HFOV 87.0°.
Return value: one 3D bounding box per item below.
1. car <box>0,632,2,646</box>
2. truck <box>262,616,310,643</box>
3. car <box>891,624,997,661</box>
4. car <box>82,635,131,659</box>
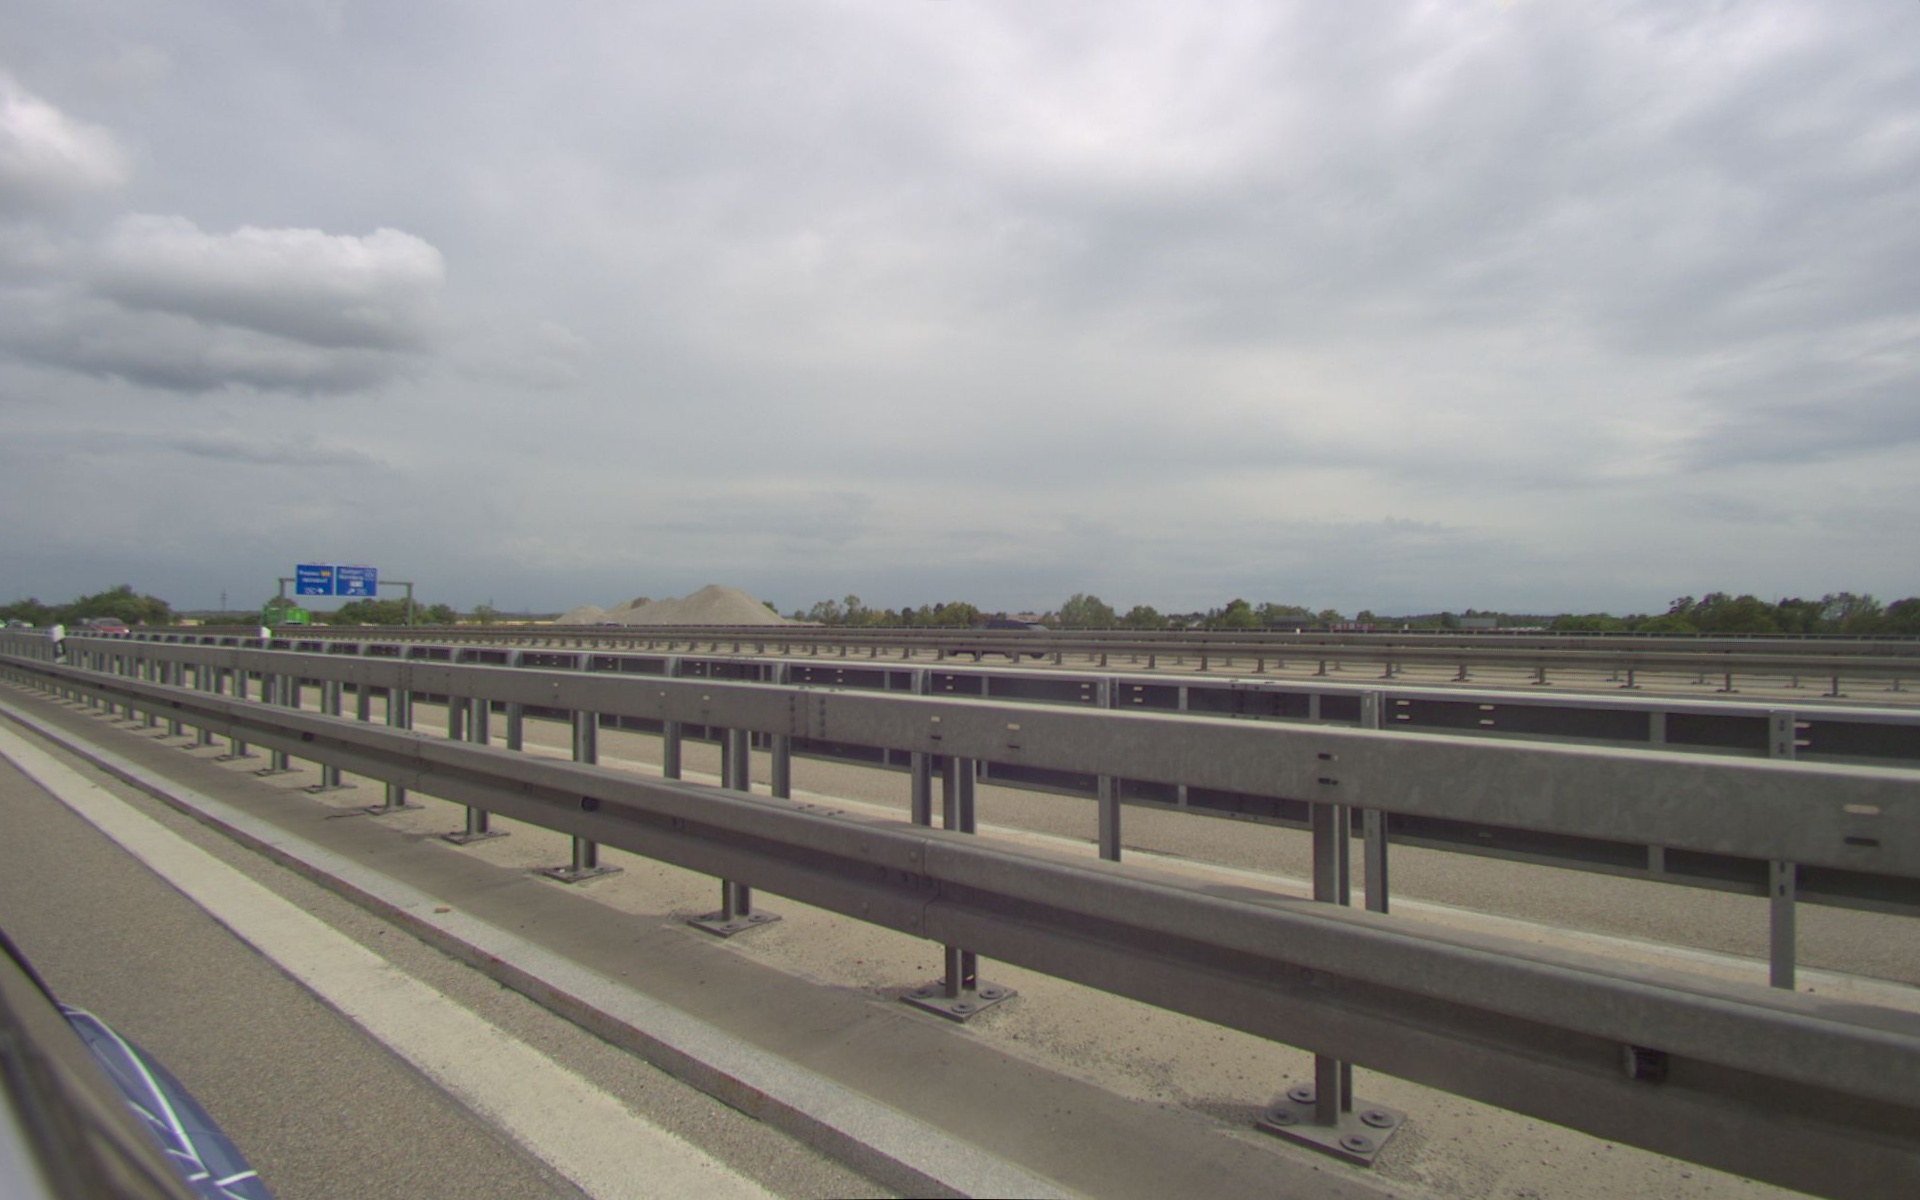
[{"bbox_3d":[-141.222,5.694,147.483,4.464,2.029,1.972,-2,-1,42],"label":"car"},{"bbox_3d":[-95.856,4.214,143.894,10.431,3.662,2.982,-2,-1,41],"label":"truck"},{"bbox_3d":[-0.663,1.628,39.408,3.997,1.337,1.697,-1,-1,41],"label":"car"},{"bbox_3d":[-58.087,3.173,68.844,4.351,1.557,1.801,-2,-1,40],"label":"car"}]
